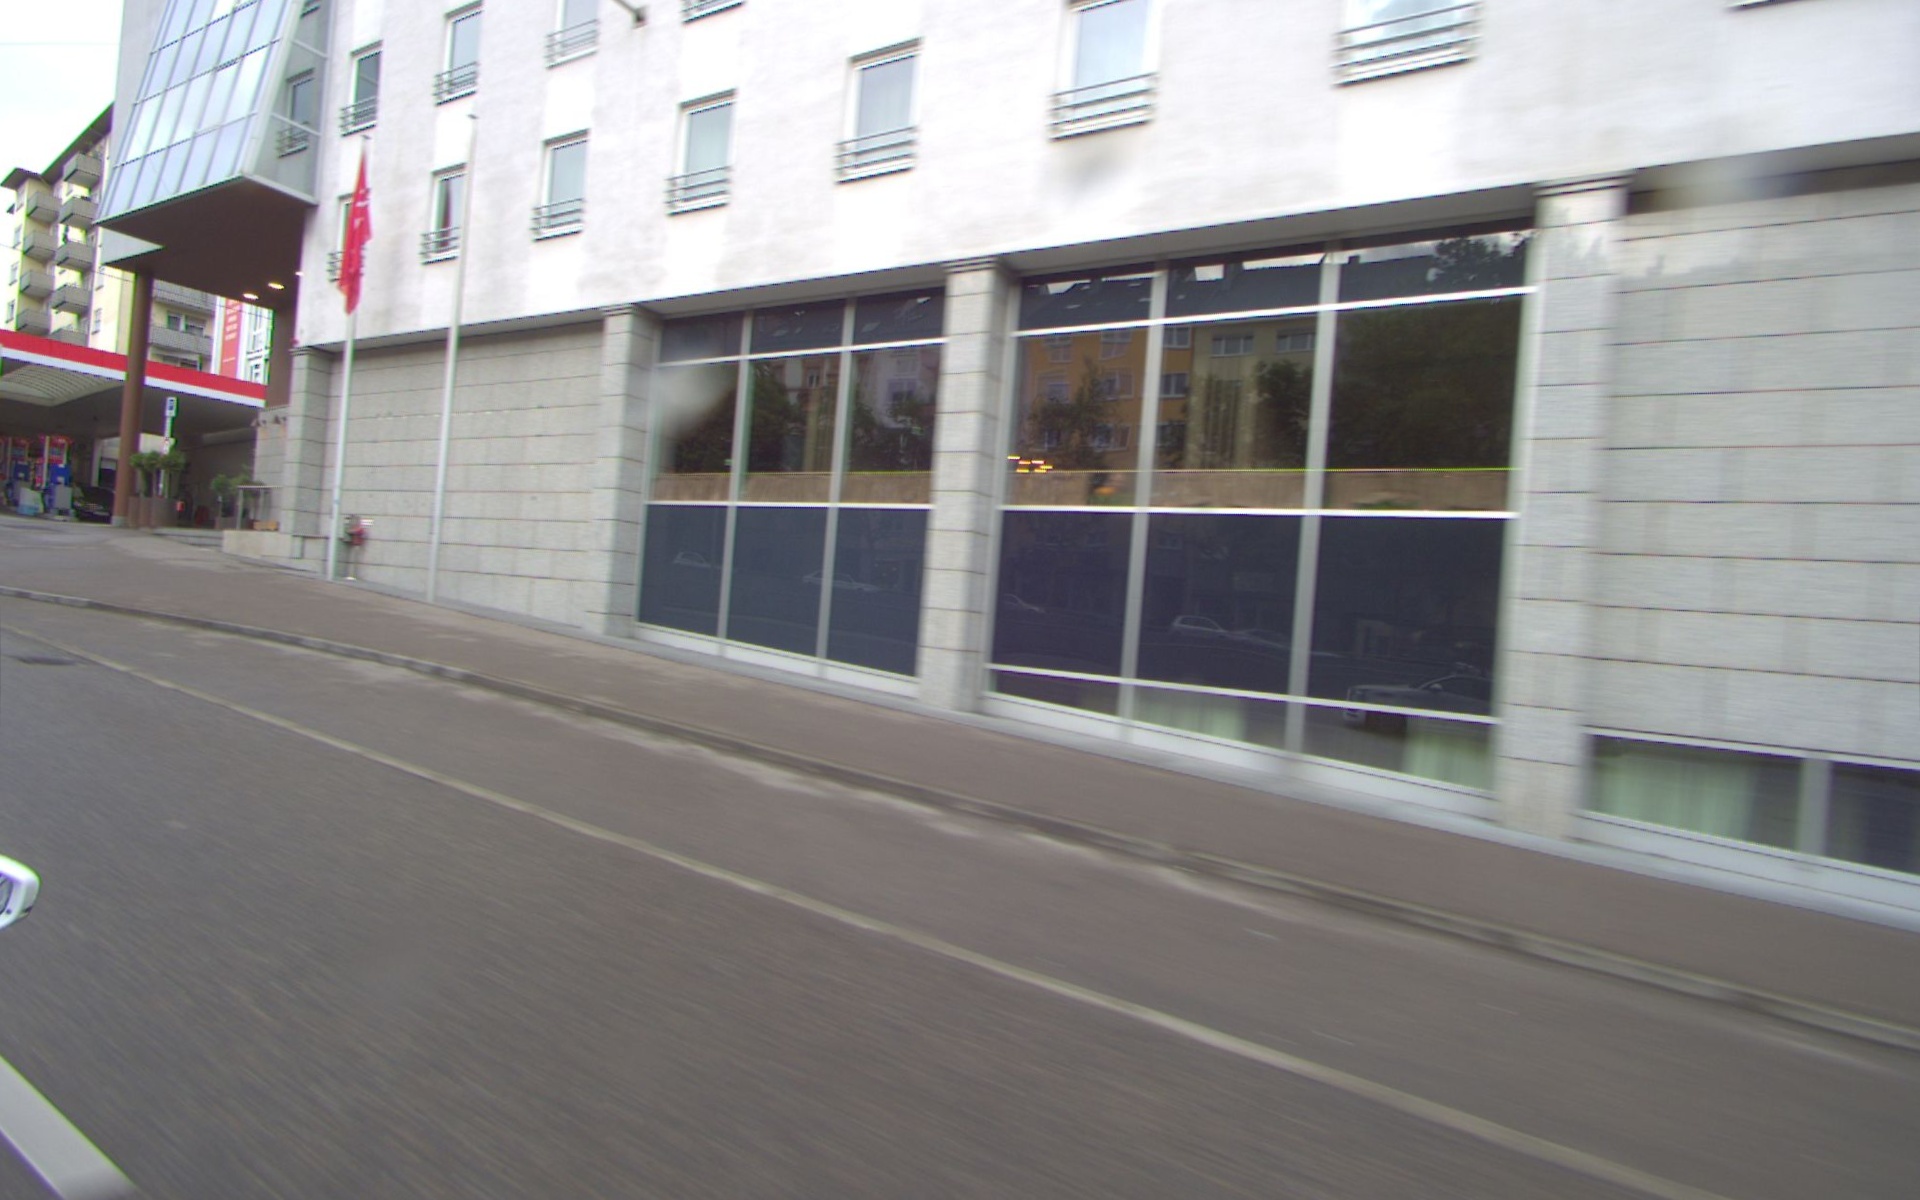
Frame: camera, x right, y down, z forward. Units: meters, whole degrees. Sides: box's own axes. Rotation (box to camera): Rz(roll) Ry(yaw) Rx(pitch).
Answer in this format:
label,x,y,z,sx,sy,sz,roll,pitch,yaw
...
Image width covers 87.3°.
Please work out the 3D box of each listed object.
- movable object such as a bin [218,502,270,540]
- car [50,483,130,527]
label,x,y,z,sx,sy,sz,roll,pitch,yaw
movable object such as a bin,-32.745,-3.626,45.981,2.470,1.443,1.162,7,1,38
car,-37.838,-4.149,43.739,3.941,1.527,1.795,5,-3,38
